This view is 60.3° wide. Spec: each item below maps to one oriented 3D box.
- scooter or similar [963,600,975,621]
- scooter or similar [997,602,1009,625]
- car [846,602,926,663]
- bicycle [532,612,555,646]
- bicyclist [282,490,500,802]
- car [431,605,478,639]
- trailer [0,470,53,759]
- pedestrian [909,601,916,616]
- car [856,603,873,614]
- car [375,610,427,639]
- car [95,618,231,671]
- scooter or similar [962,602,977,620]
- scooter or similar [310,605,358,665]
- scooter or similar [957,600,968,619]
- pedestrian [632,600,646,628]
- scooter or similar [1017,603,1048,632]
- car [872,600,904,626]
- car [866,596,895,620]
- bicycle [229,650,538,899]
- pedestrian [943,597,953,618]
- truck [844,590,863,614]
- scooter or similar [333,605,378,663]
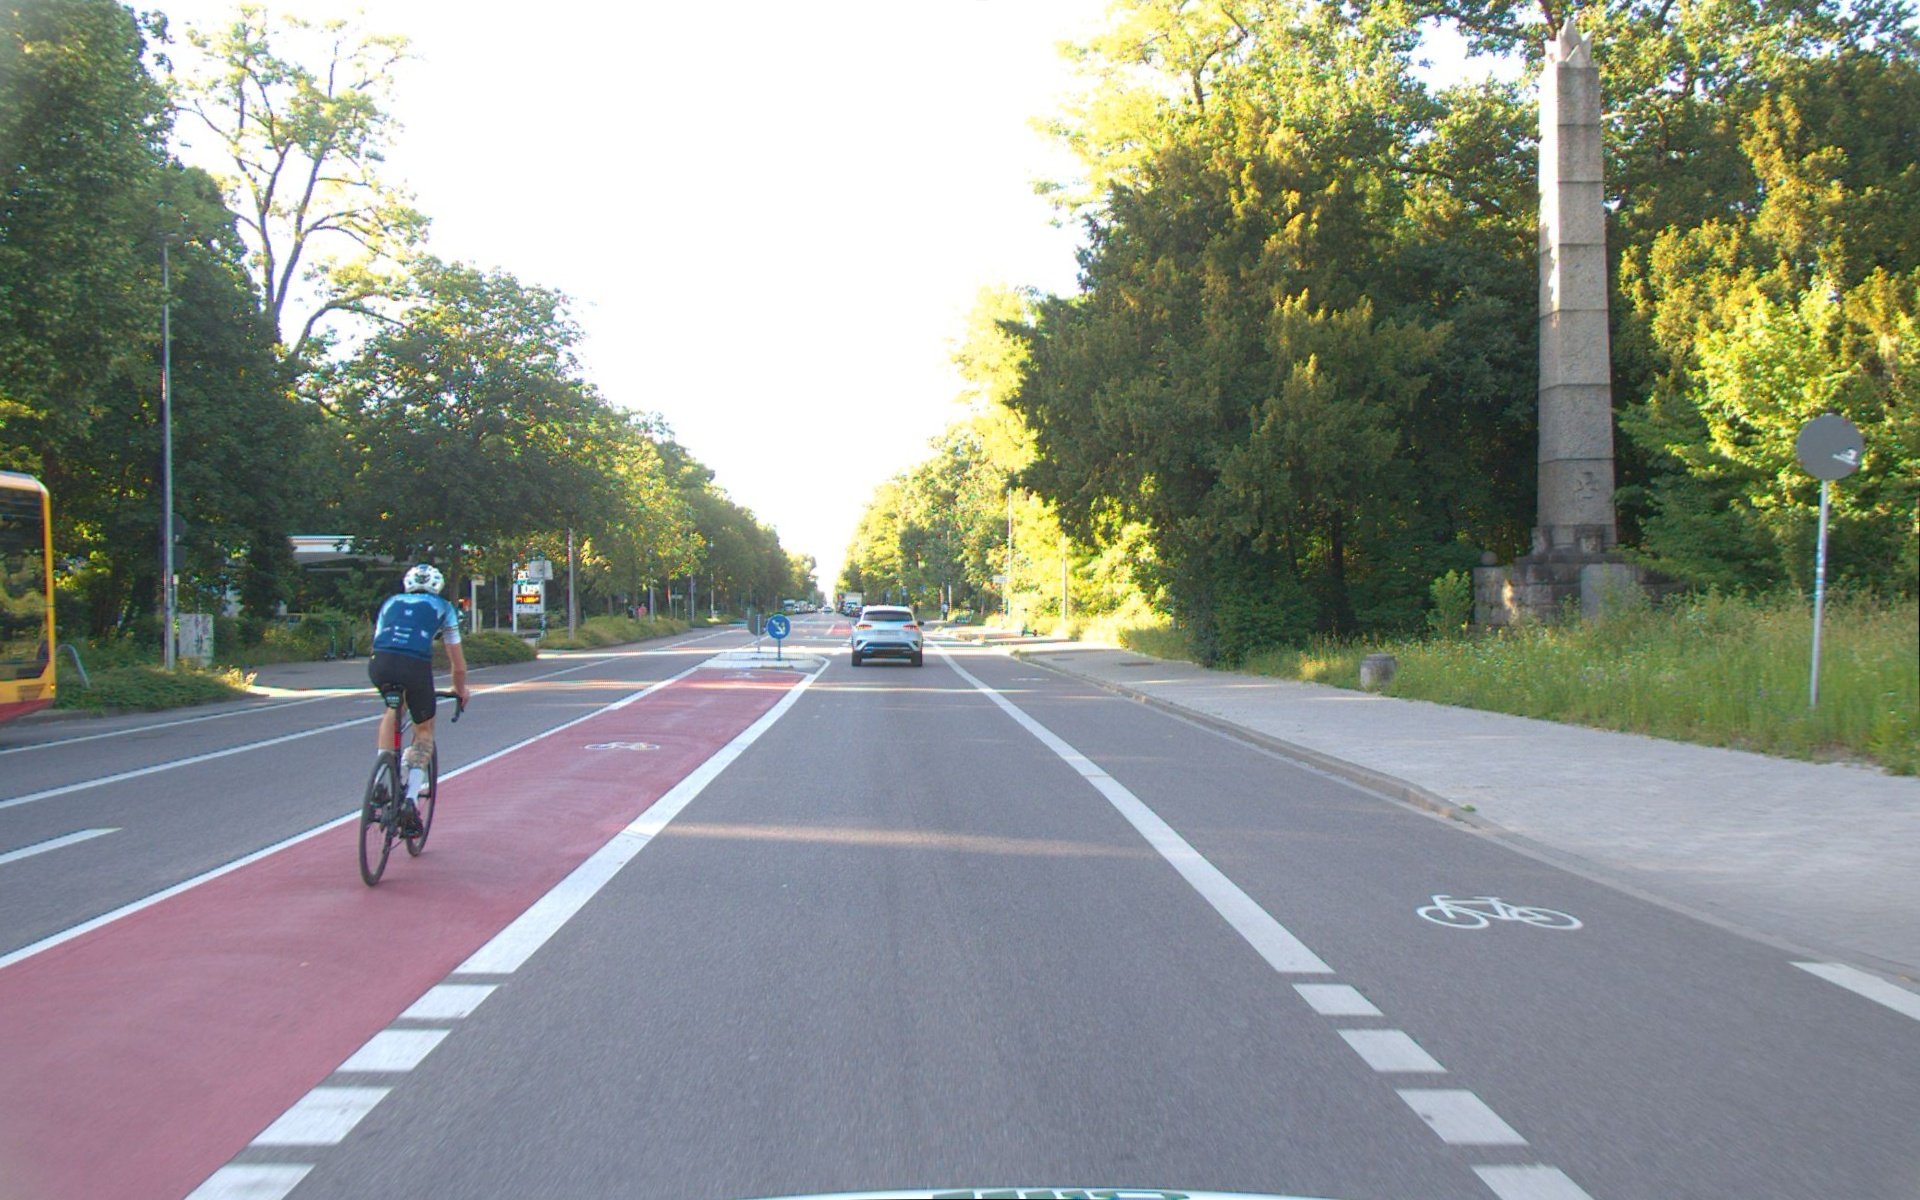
[{"bbox_3d":[0.620,0.723,117.842,0.668,1.448,1.680,-1,0,-4],"label":"scooter or similar"},{"bbox_3d":[2.408,0.755,92.156,0.522,1.272,1.540,-1,0,-4],"label":"scooter or similar"},{"bbox_3d":[-1.950,0.801,42.555,1.728,1.485,3.811,1,0,-8],"label":"car"},{"bbox_3d":[-16.380,1.122,65.035,0.642,1.272,2.155,-1,0,-9],"label":"bicycle"},{"bbox_3d":[-3.047,0.233,8.942,0.842,1.594,0.881,0,0,1],"label":"bicyclist"},{"bbox_3d":[-27.050,1.145,88.666,1.678,1.721,4.445,-1,0,-8],"label":"car"},{"bbox_3d":[-12.606,0.132,15.986,2.797,3.414,9.357,1,0,-3],"label":"trailer"},{"bbox_3d":[-5.322,0.913,184.092,0.685,1.682,0.875,-1,0,-5],"label":"pedestrian"},{"bbox_3d":[-12.406,1.071,215.193,1.956,1.350,3.993,-1,0,-8],"label":"car"},{"bbox_3d":[-31.397,1.361,92.992,1.677,1.524,4.573,-1,0,-5],"label":"car"},{"bbox_3d":[-24.212,1.349,50.352,1.527,1.424,3.487,-4,-1,27],"label":"car"},{"bbox_3d":[0.667,0.784,119.703,0.460,1.329,1.469,-1,0,-26],"label":"scooter or similar"},{"bbox_3d":[-18.576,1.027,49.100,0.811,1.747,1.740,-1,0,-3],"label":"scooter or similar"},{"bbox_3d":[0.188,0.726,126.842,0.668,1.448,1.680,-1,0,-4],"label":"scooter or similar"},{"bbox_3d":[-23.711,1.037,122.225,0.702,2.049,0.746,-2,0,26],"label":"pedestrian"},{"bbox_3d":[3.259,0.796,74.331,0.525,1.272,1.532,-2,0,42],"label":"scooter or similar"},{"bbox_3d":[-4.613,0.817,105.795,1.954,1.545,3.997,-1,0,-4],"label":"car"},{"bbox_3d":[-5.000,0.522,104.585,1.642,1.442,3.573,-1,0,-1],"label":"car"},{"bbox_3d":[-3.034,0.867,8.990,0.873,1.114,2.136,0,0,1],"label":"bicycle"},{"bbox_3d":[-0.935,0.542,127.704,0.739,1.591,0.802,-1,0,1],"label":"pedestrian"},{"bbox_3d":[-16.636,0.306,258.728,2.745,3.632,8.025,0,0,-5],"label":"truck"},{"bbox_3d":[-18.639,1.040,51.041,0.811,1.747,1.740,-1,0,-3],"label":"scooter or similar"}]
